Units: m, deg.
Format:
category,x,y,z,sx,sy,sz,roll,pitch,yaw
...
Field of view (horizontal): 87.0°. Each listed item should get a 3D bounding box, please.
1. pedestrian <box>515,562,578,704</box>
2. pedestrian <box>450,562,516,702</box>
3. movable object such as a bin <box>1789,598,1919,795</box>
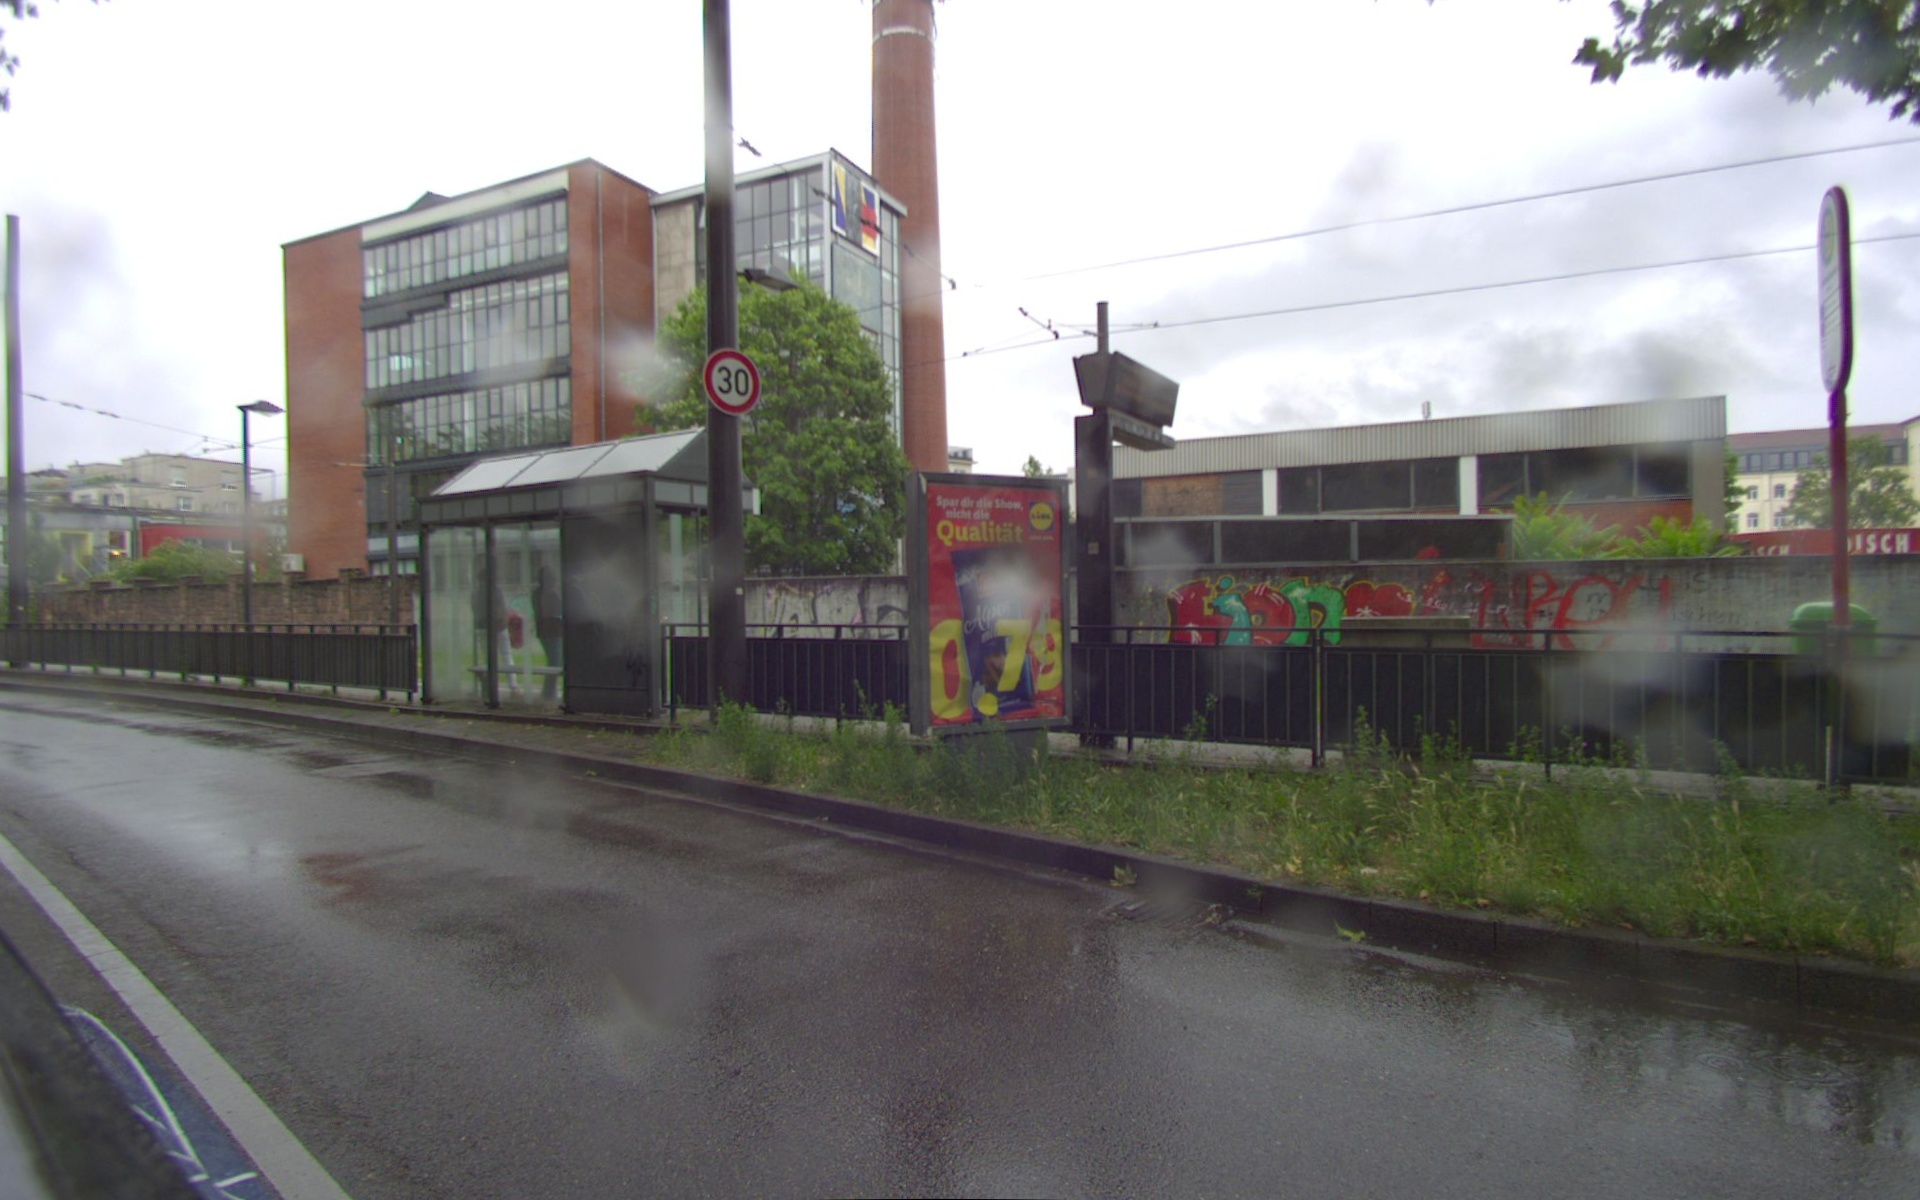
category,x,y,z,sx,sy,sz,roll,pitch,yaw
pedestrian,-5.194,0.409,12.739,0.560,1.744,0.583,0,-2,-3
pedestrian,-6.066,0.401,12.898,0.560,1.744,0.583,0,-2,-1
movable object such as a bin,5.272,0.544,5.929,0.528,1.098,0.414,-1,-2,25
